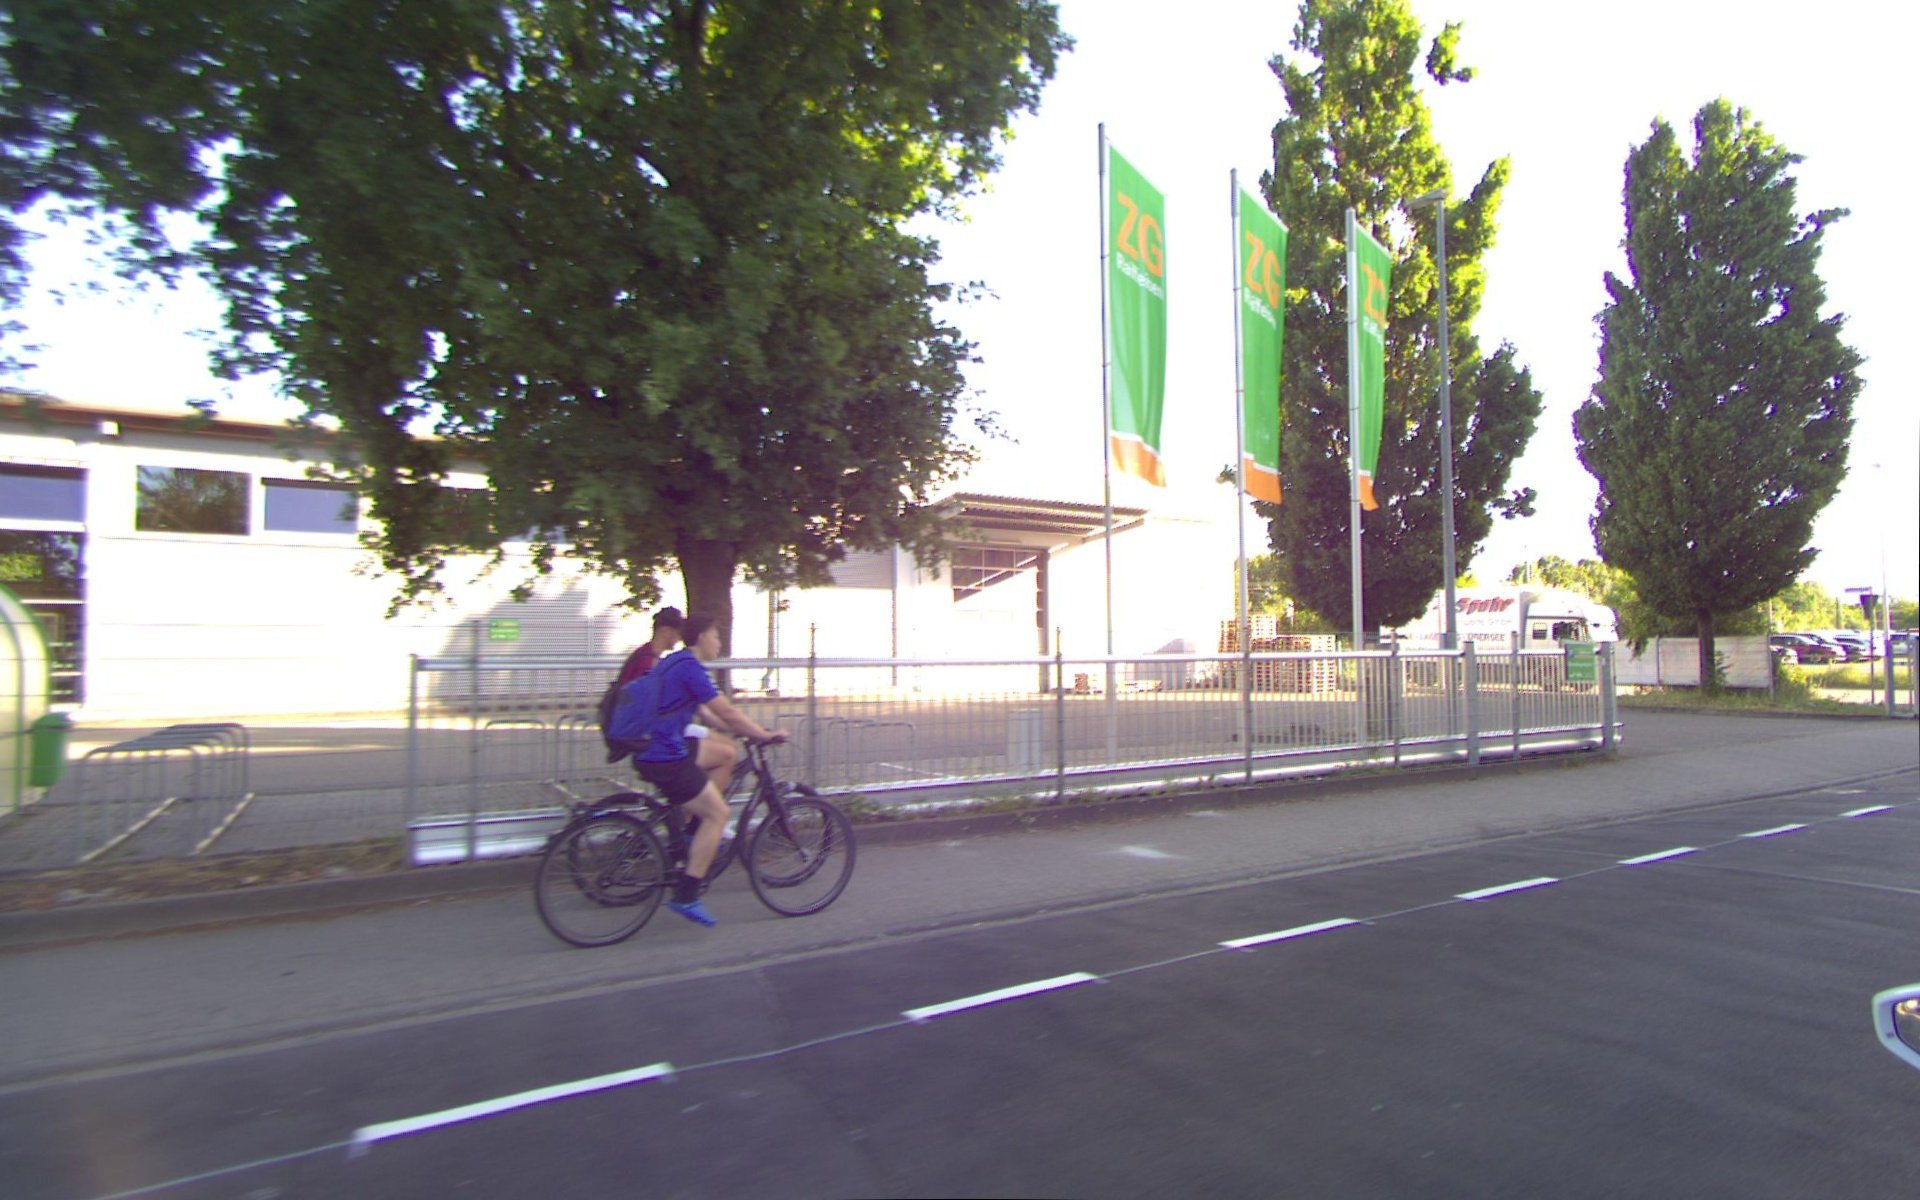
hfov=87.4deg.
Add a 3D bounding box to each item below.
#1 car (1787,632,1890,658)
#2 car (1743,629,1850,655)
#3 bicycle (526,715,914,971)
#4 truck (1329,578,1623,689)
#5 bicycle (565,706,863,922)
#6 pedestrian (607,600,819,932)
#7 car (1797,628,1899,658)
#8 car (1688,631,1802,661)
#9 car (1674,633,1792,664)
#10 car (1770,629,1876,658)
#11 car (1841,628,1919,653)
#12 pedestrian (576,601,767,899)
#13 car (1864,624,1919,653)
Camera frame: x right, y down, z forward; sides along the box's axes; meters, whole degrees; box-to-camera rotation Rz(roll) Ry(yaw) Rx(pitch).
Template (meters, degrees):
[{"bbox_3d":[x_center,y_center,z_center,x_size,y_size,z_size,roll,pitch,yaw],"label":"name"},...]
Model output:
[{"bbox_3d":[50.932,2.609,58.317,2.027,1.415,4.136,1,-3,-33],"label":"car"},{"bbox_3d":[46.239,2.319,55.607,2.027,1.415,4.136,1,-3,-33],"label":"car"},{"bbox_3d":[-1.331,1.325,5.876,2.175,1.164,0.443,1,-1,-31],"label":"bicycle"},{"bbox_3d":[19.024,1.282,38.077,2.744,3.662,10.049,2,-2,-31],"label":"truck"},{"bbox_3d":[-1.577,1.334,6.604,1.848,1.164,0.467,1,-1,-31],"label":"bicycle"},{"bbox_3d":[-1.447,0.893,5.872,1.045,1.743,0.717,1,-3,-31],"label":"pedestrian"},{"bbox_3d":[52.748,2.551,59.742,1.945,1.683,4.137,1,-3,-33],"label":"car"},{"bbox_3d":[41.599,2.423,53.322,2.027,1.484,4.377,1,-3,-33],"label":"car"},{"bbox_3d":[39.537,2.477,51.488,2.027,1.484,4.377,1,-3,-33],"label":"car"},{"bbox_3d":[48.906,2.473,56.997,2.027,1.599,4.136,1,-3,-33],"label":"car"},{"bbox_3d":[60.533,2.620,65.448,1.835,1.566,4.348,0,-2,-29],"label":"car"},{"bbox_3d":[-1.861,0.898,6.480,1.045,1.743,0.717,1,-3,-31],"label":"pedestrian"},{"bbox_3d":[62.848,2.514,66.136,1.835,1.829,4.556,0,-2,-29],"label":"car"}]
